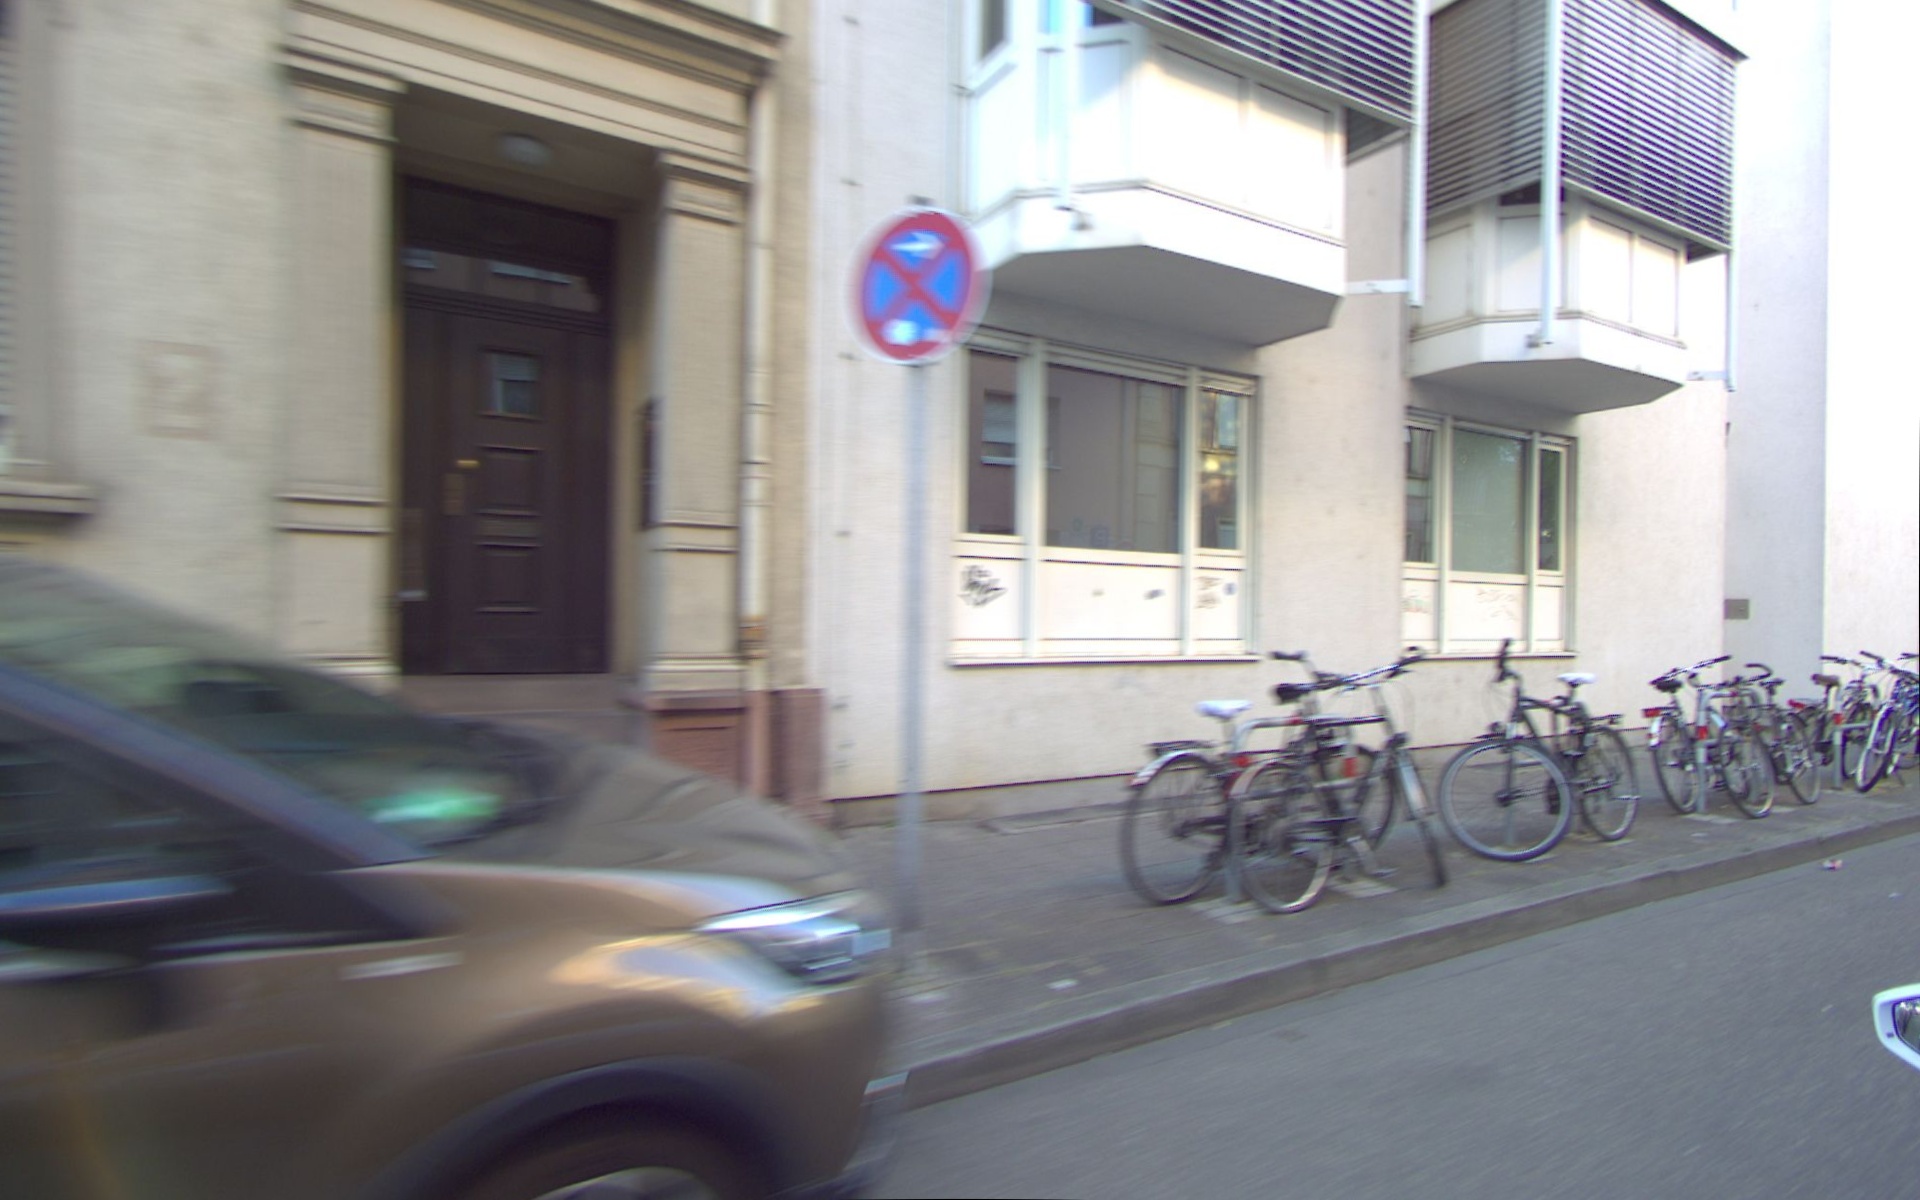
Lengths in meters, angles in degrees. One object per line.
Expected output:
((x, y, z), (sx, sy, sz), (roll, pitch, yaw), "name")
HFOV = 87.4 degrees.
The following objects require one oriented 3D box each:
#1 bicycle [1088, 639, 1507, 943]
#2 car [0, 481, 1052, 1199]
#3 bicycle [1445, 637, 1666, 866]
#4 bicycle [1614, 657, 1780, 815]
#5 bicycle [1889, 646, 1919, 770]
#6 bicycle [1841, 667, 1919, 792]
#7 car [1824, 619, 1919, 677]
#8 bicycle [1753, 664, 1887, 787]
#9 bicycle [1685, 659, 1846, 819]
((1.724, 0.821, 4.954), (2.238, 1.203, 0.592), (1, 2, -30), "bicycle")
((-1.973, 0.648, 1.796), (4.026, 1.597, 1.781), (1, 0, -32), "car")
((3.657, 0.857, 6.114), (1.791, 1.239, 0.305), (1, 0, -30), "bicycle")
((5.610, 0.984, 7.611), (1.791, 1.056, 0.305), (1, 0, -30), "bicycle")
((9.657, 1.031, 9.906), (1.796, 1.117, 0.397), (1, 0, -37), "bicycle")
((8.151, 1.086, 8.727), (1.794, 0.944, 0.305), (1, 0, -34), "bicycle")
((25.553, 1.295, 28.248), (1.540, 1.495, 3.655), (0, -1, 35), "car")
((7.547, 1.062, 8.792), (1.791, 0.944, 0.305), (1, 0, -30), "bicycle")
((6.047, 0.995, 7.511), (1.791, 1.056, 0.305), (1, 0, -30), "bicycle")
